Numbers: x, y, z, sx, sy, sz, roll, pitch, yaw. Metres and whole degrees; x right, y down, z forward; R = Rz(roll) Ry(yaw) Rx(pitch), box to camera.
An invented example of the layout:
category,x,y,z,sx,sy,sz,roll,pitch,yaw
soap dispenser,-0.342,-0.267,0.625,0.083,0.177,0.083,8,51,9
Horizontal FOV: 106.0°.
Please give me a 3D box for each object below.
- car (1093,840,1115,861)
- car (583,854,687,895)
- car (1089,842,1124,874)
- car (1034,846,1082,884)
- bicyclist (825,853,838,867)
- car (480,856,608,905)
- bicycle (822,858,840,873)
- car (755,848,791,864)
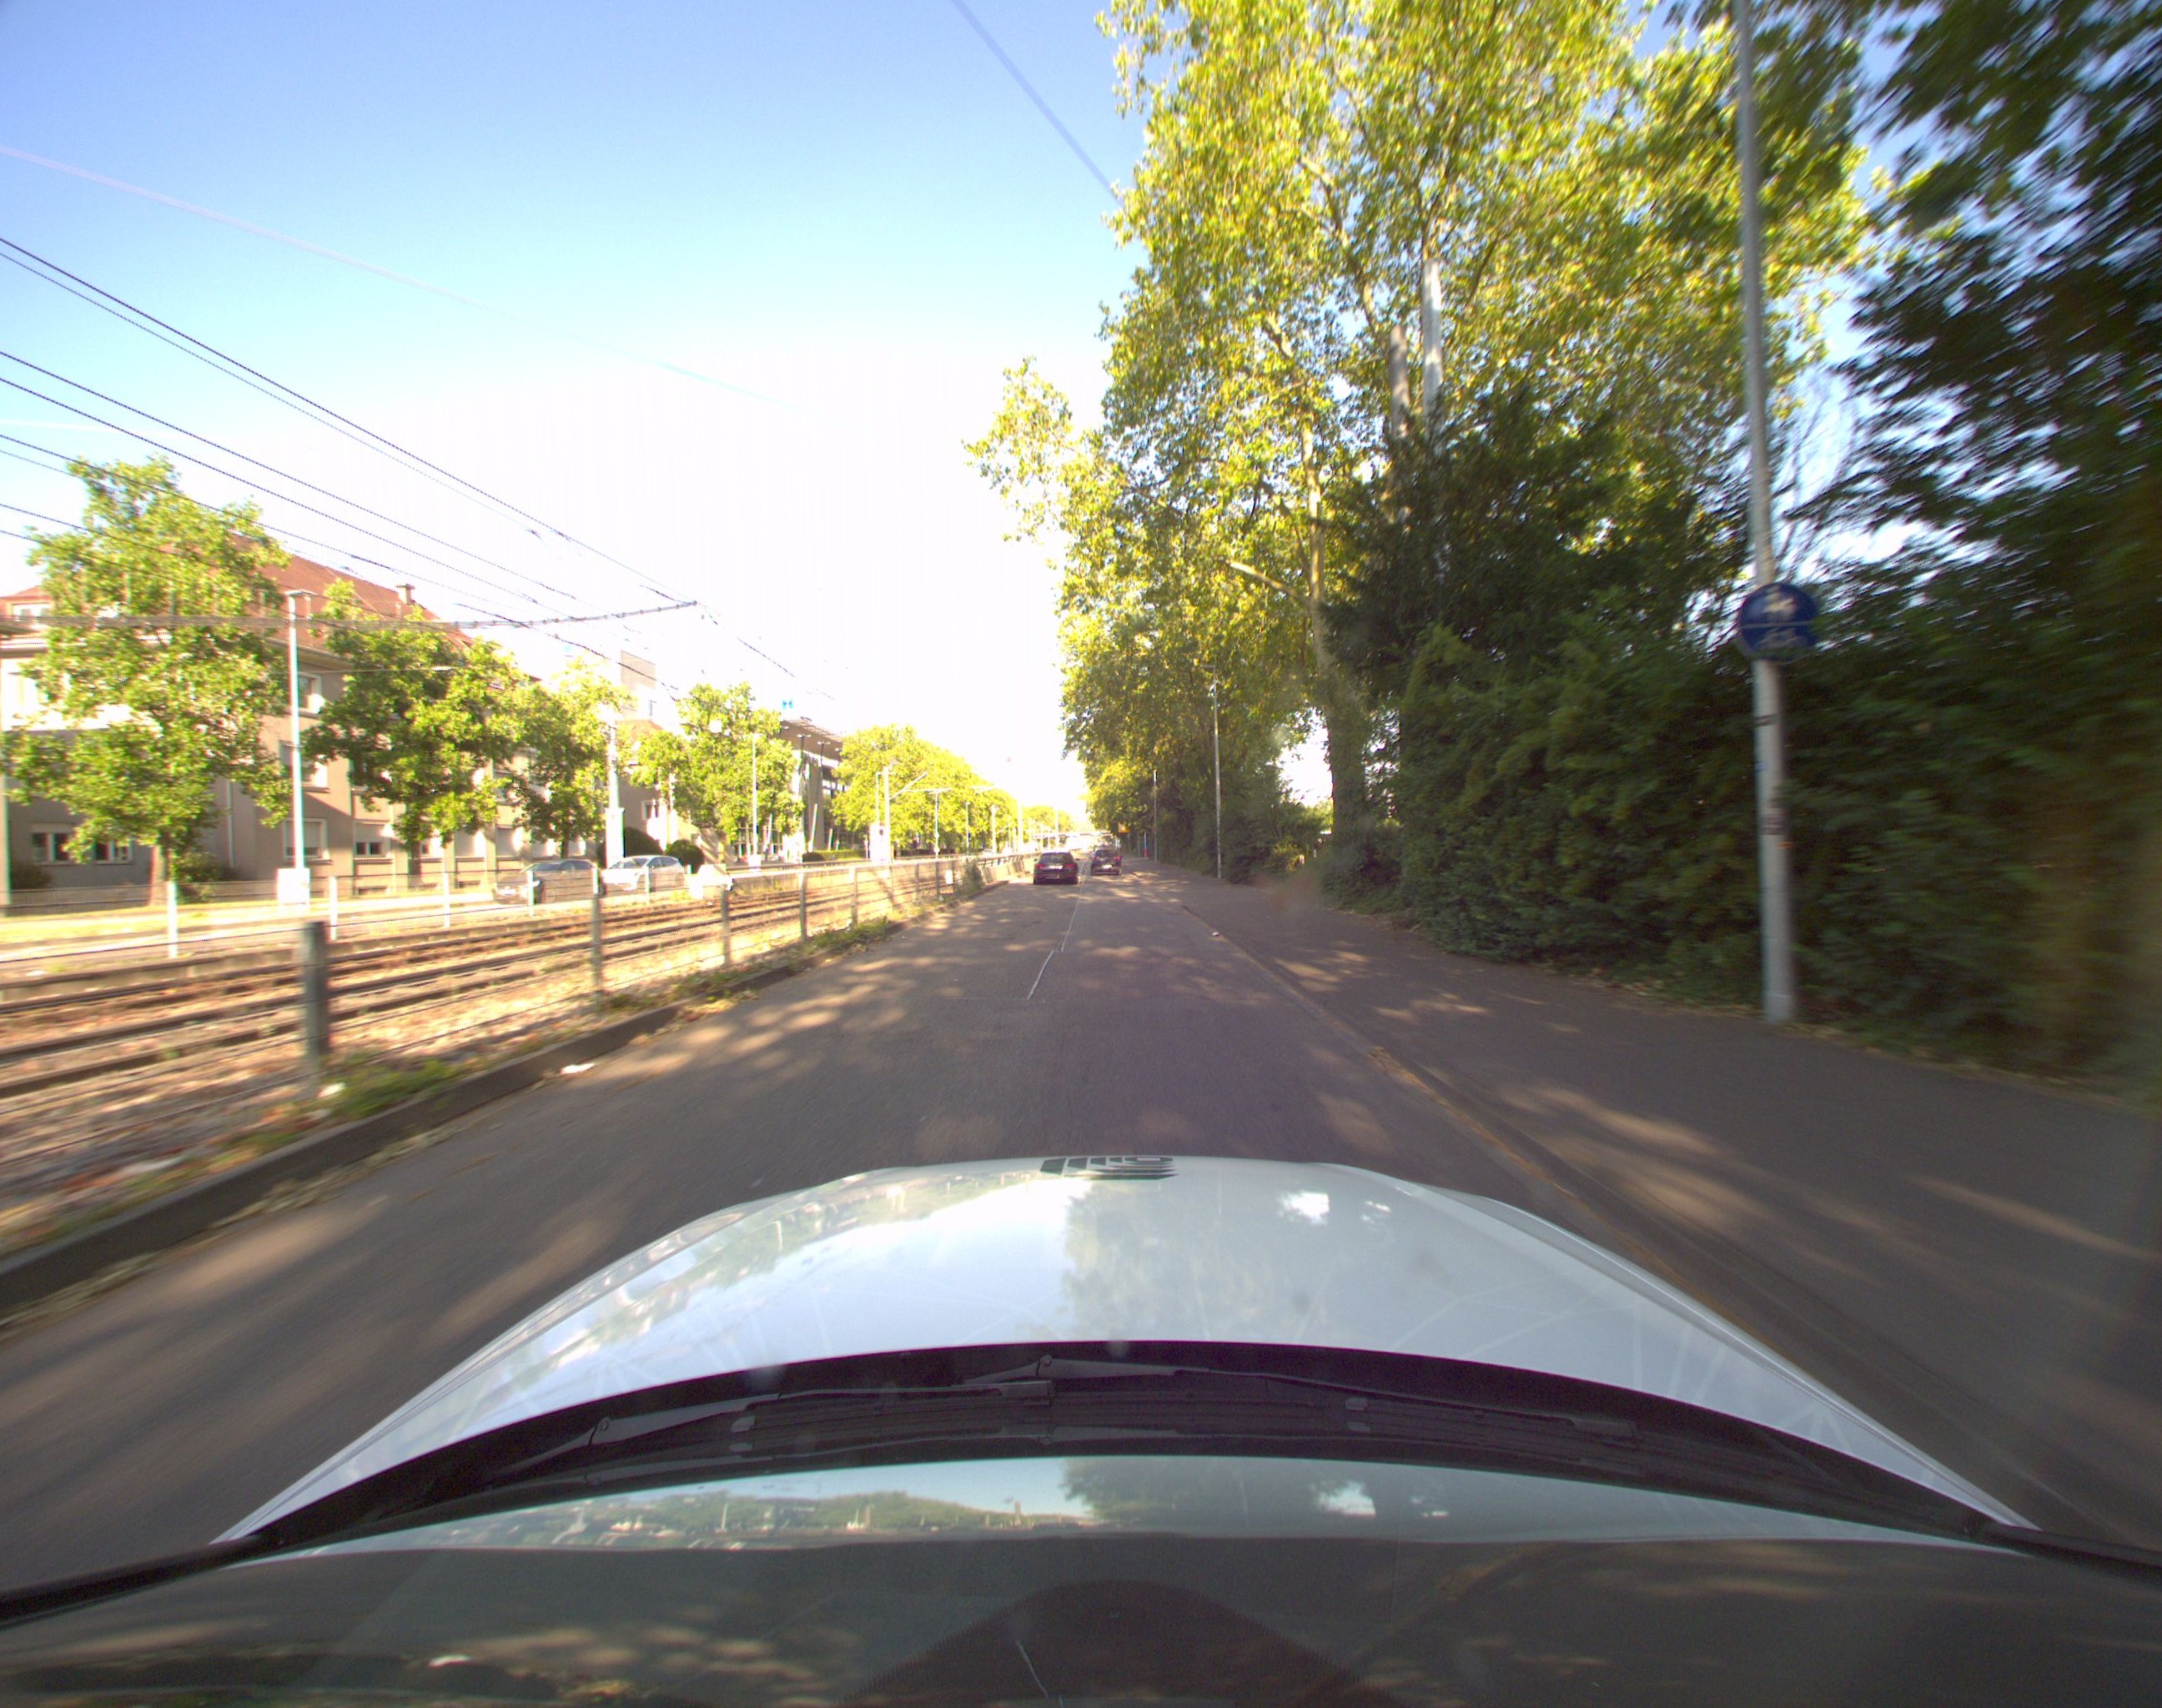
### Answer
category,x,y,z,sx,sy,sz,roll,pitch,yaw
car,2.291,-0.357,80.894,1.986,2.013,4.002,-2,1,2
car,-18.334,0.801,33.734,1.986,1.530,4.002,-1,0,2
car,1.394,0.190,45.455,1.757,1.619,3.999,-2,1,-1
car,-0.949,0.428,34.667,1.872,1.457,3.355,-2,1,-1
bicyclist,-27.377,0.631,89.370,0.927,1.486,1.272,-2,0,0
car,-18.592,0.868,28.443,1.733,1.547,4.001,-1,0,1
bicycle,-27.372,1.260,89.349,0.927,1.486,3.177,-2,1,0
car,-41.054,0.225,108.533,3.974,2.013,2.000,-2,0,0
